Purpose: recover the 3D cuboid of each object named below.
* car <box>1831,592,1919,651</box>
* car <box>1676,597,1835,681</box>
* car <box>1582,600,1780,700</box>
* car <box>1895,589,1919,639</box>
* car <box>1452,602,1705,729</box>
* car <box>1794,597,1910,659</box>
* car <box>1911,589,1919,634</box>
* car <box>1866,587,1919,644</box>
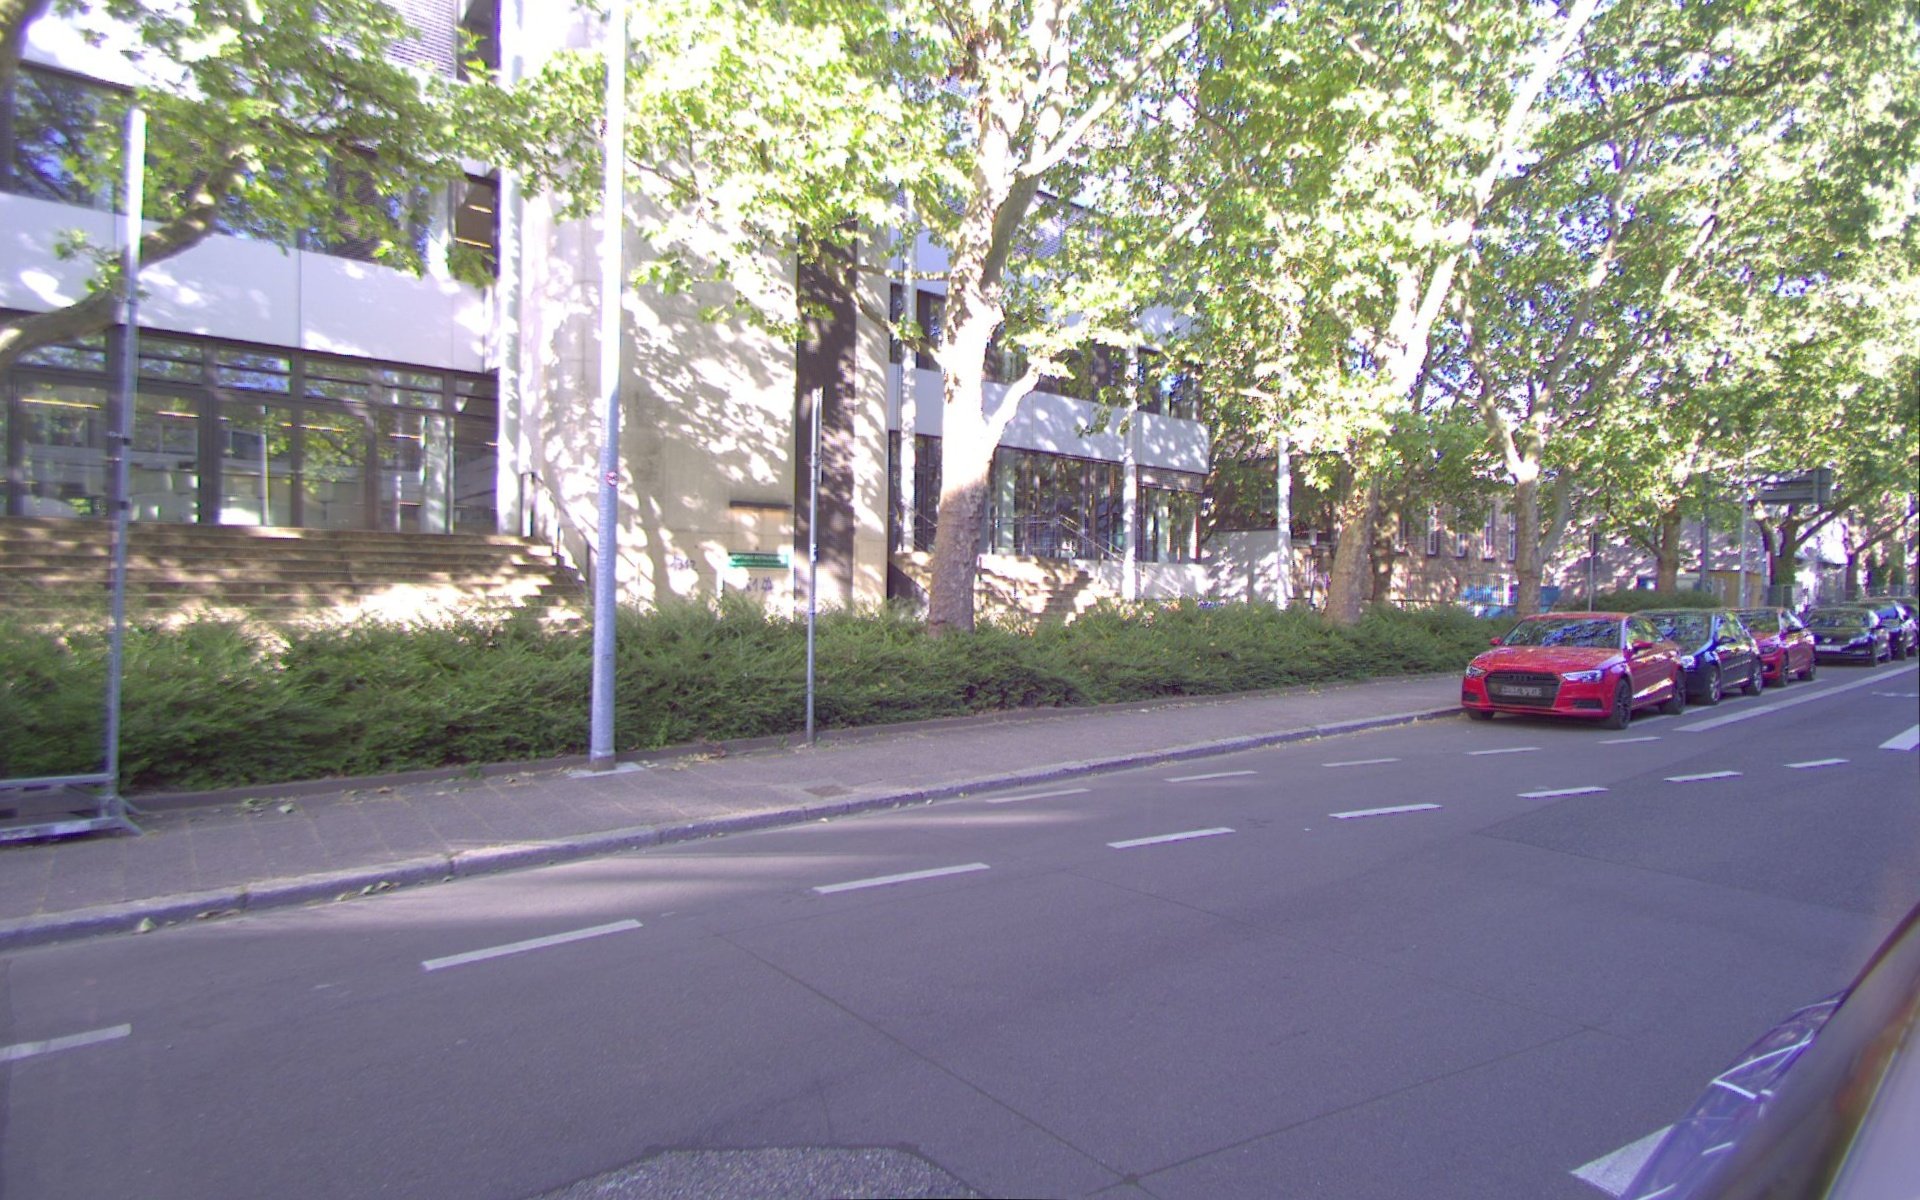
[{"bbox_3d":[26.606,0.583,29.140,4.092,1.573,1.788,0,-1,-42],"label":"car"},{"bbox_3d":[15.869,0.696,20.115,4.092,1.502,1.815,0,-1,-42],"label":"car"},{"bbox_3d":[11.963,0.734,16.694,4.092,1.431,1.815,0,-1,-42],"label":"car"},{"bbox_3d":[35.919,0.476,37.258,4.475,1.777,1.788,0,-1,-42],"label":"car"},{"bbox_3d":[8.370,0.750,13.555,4.092,1.431,1.815,0,-1,-42],"label":"car"},{"bbox_3d":[23.060,0.674,26.108,4.092,1.478,1.788,0,-1,-42],"label":"car"},{"bbox_3d":[39.636,0.431,40.409,4.475,1.777,2.040,0,-1,-42],"label":"car"},{"bbox_3d":[31.066,0.482,33.023,4.271,1.777,1.788,0,-1,-42],"label":"car"}]
